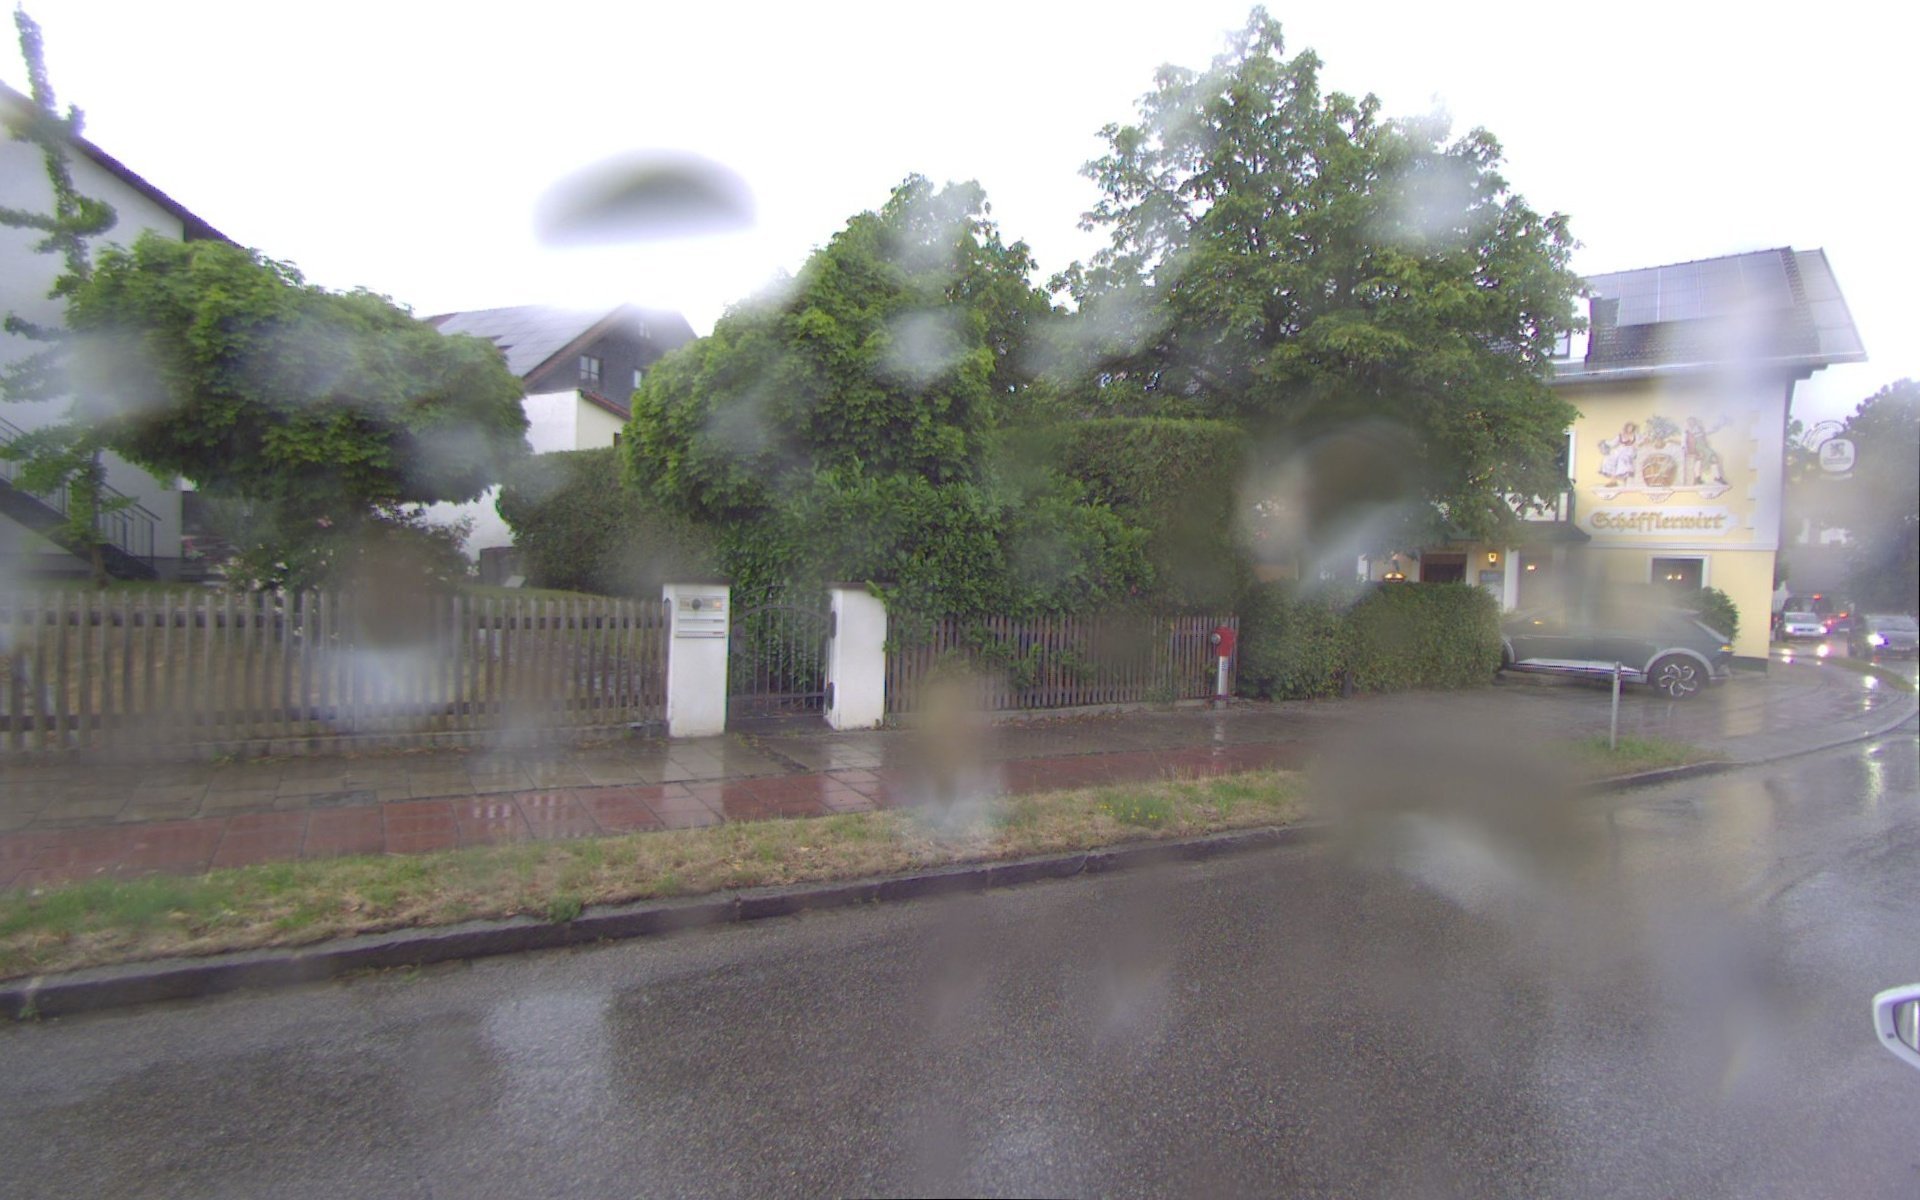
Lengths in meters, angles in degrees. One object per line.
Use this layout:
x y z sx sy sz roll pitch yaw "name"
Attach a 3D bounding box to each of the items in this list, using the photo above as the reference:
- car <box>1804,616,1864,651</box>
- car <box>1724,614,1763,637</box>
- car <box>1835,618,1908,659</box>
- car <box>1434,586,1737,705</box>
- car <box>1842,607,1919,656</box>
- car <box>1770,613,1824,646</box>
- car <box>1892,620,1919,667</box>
55.085 2.070 63.395 2.139 1.925 4.999 3 2 34 "car"
55.927 1.814 71.755 1.562 1.631 3.534 1 -1 27 "car"
49.676 2.058 54.838 2.139 1.925 4.999 3 2 34 "car"
11.320 0.730 18.482 4.413 1.589 1.834 6 5 32 "car"
35.243 1.181 38.217 1.896 1.767 4.180 0 -1 33 "car"
45.713 1.616 54.920 1.729 1.700 3.990 0 -1 33 "car"
43.990 1.983 45.195 2.139 1.925 4.999 3 2 34 "car"
